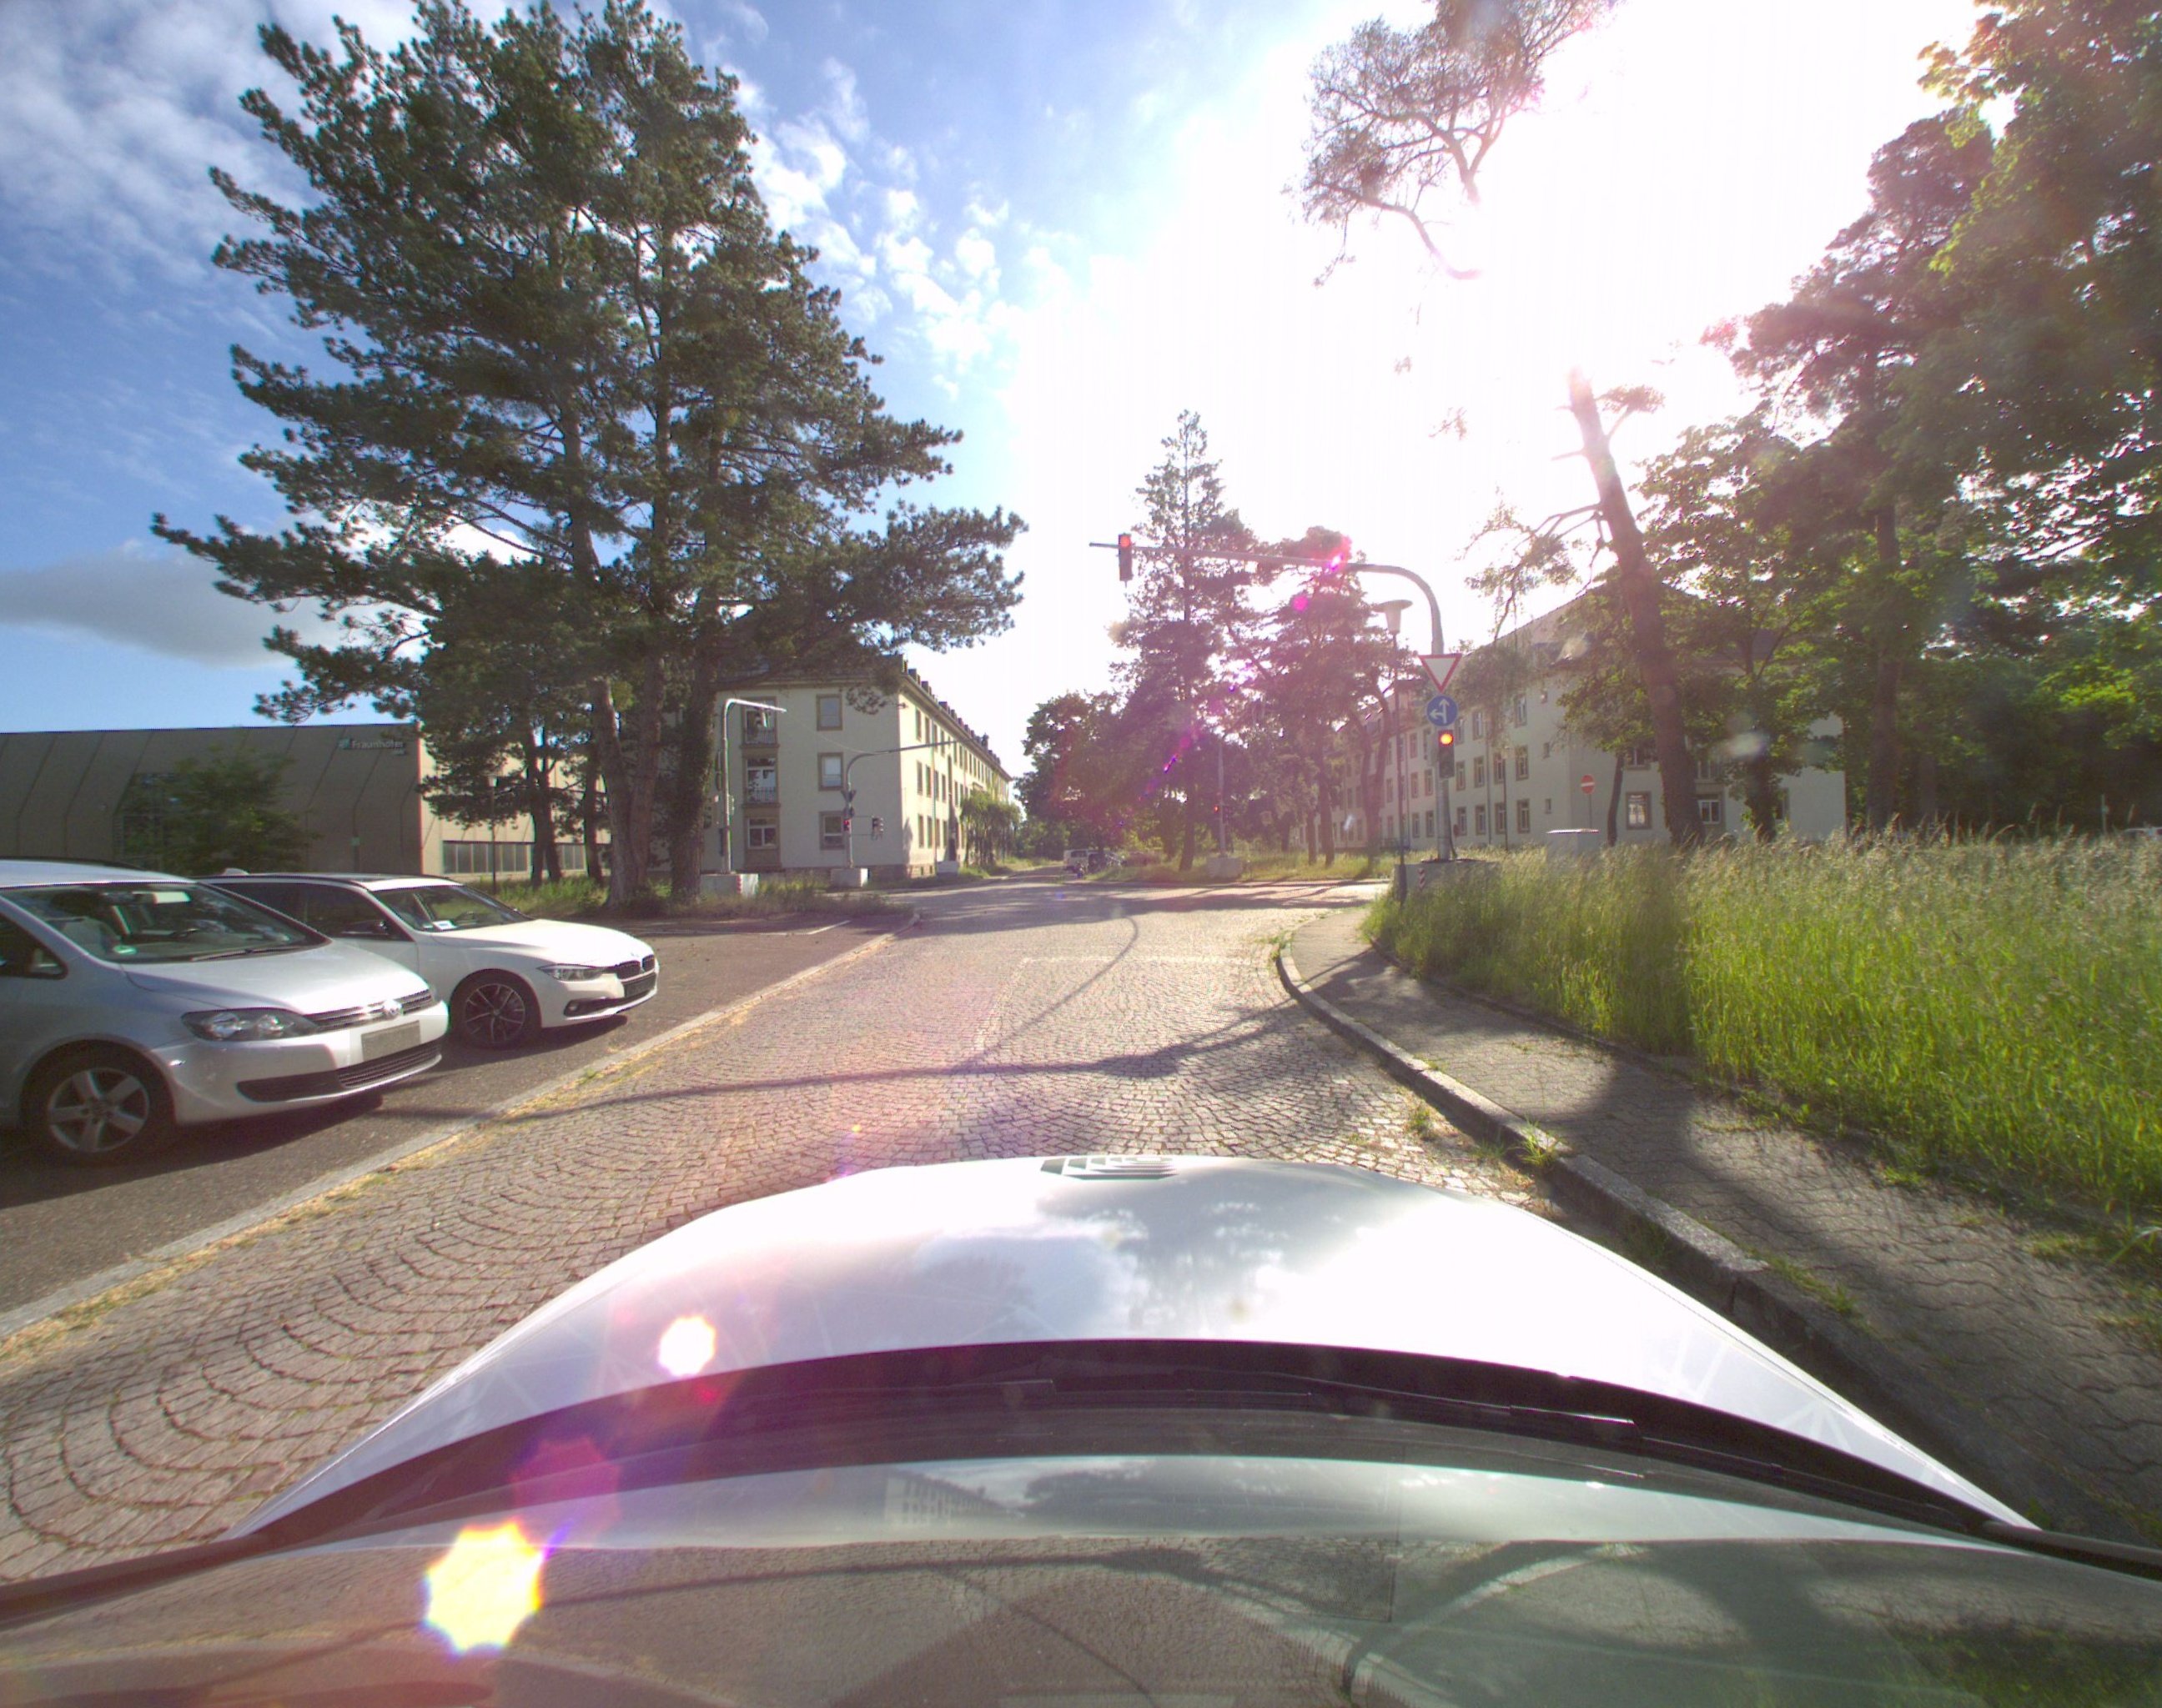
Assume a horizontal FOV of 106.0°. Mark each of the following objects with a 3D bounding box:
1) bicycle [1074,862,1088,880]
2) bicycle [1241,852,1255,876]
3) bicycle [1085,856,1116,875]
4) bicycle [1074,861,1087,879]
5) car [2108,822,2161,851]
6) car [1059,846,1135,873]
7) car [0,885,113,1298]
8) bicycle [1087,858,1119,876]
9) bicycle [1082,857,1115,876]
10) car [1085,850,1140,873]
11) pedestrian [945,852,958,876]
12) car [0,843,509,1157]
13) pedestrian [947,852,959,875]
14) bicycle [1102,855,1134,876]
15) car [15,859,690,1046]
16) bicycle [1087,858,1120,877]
[{"bbox_3d":[-0.002,0.926,45.924,0.693,0.971,1.859,-1,0,-2],"label":"bicycle"},{"bbox_3d":[7.654,0.462,37.305,0.464,1.080,1.175,-2,-1,4],"label":"bicycle"},{"bbox_3d":[1.274,0.750,52.525,1.938,1.129,0.646,-2,0,-5],"label":"bicycle"},{"bbox_3d":[-0.049,0.926,47.864,0.693,0.971,1.859,-1,0,-2],"label":"bicycle"},{"bbox_3d":[57.712,-0.951,43.346,3.978,1.464,1.845,-2,0,-3],"label":"car"},{"bbox_3d":[1.280,0.430,67.438,5.925,2.013,2.469,-2,0,-7],"label":"car"},{"bbox_3d":[-5.780,0.828,2.365,3.786,1.471,1.687,1,0,-1],"label":"car"},{"bbox_3d":[1.330,0.793,49.415,1.850,1.031,0.749,-2,0,-3],"label":"bicycle"},{"bbox_3d":[1.107,0.798,51.430,1.951,1.129,0.642,-1,0,-27],"label":"bicycle"},{"bbox_3d":[2.426,0.579,63.190,3.984,1.684,1.842,-2,0,-8],"label":"car"},{"bbox_3d":[-10.383,0.795,65.186,0.806,1.817,0.557,-2,0,11],"label":"pedestrian"},{"bbox_3d":[-6.201,0.759,5.064,3.936,1.626,1.719,1,0,-4],"label":"car"},{"bbox_3d":[-10.413,0.793,66.147,0.762,1.817,0.684,-2,0,11],"label":"pedestrian"},{"bbox_3d":[2.300,0.700,50.920,1.936,1.235,0.485,-2,0,-3],"label":"bicycle"},{"bbox_3d":[-6.342,0.827,7.552,4.530,1.467,1.751,1,0,-3],"label":"car"},{"bbox_3d":[1.370,0.836,50.213,1.936,1.129,0.749,-2,0,-3],"label":"bicycle"}]
